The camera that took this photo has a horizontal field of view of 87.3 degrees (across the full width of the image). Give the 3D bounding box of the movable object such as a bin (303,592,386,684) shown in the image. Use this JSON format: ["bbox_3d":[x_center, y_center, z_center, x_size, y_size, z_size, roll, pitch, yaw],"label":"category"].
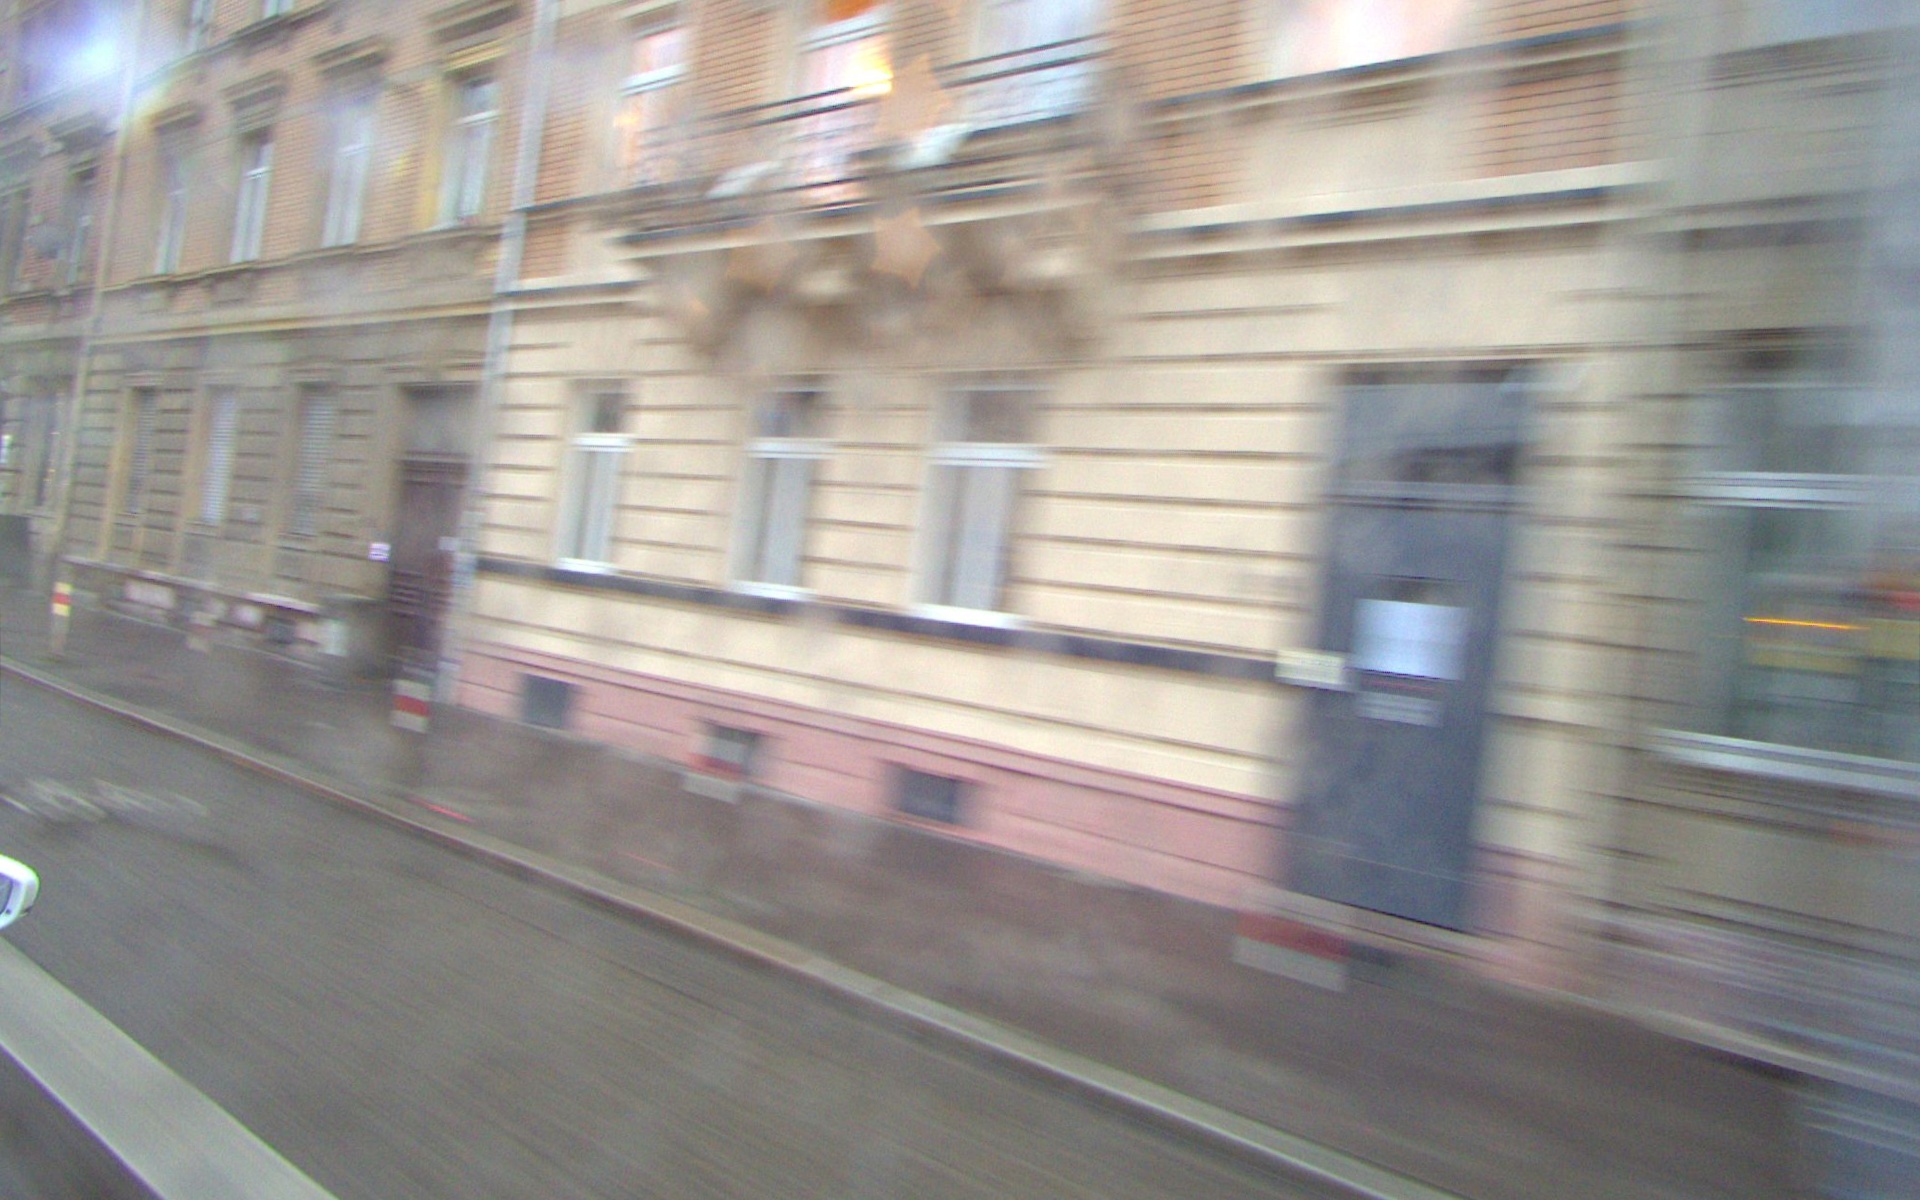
[{"bbox_3d":[-6.829,0.427,11.174,0.499,0.942,0.507,7,-1,30],"label":"movable object such as a bin"}]
